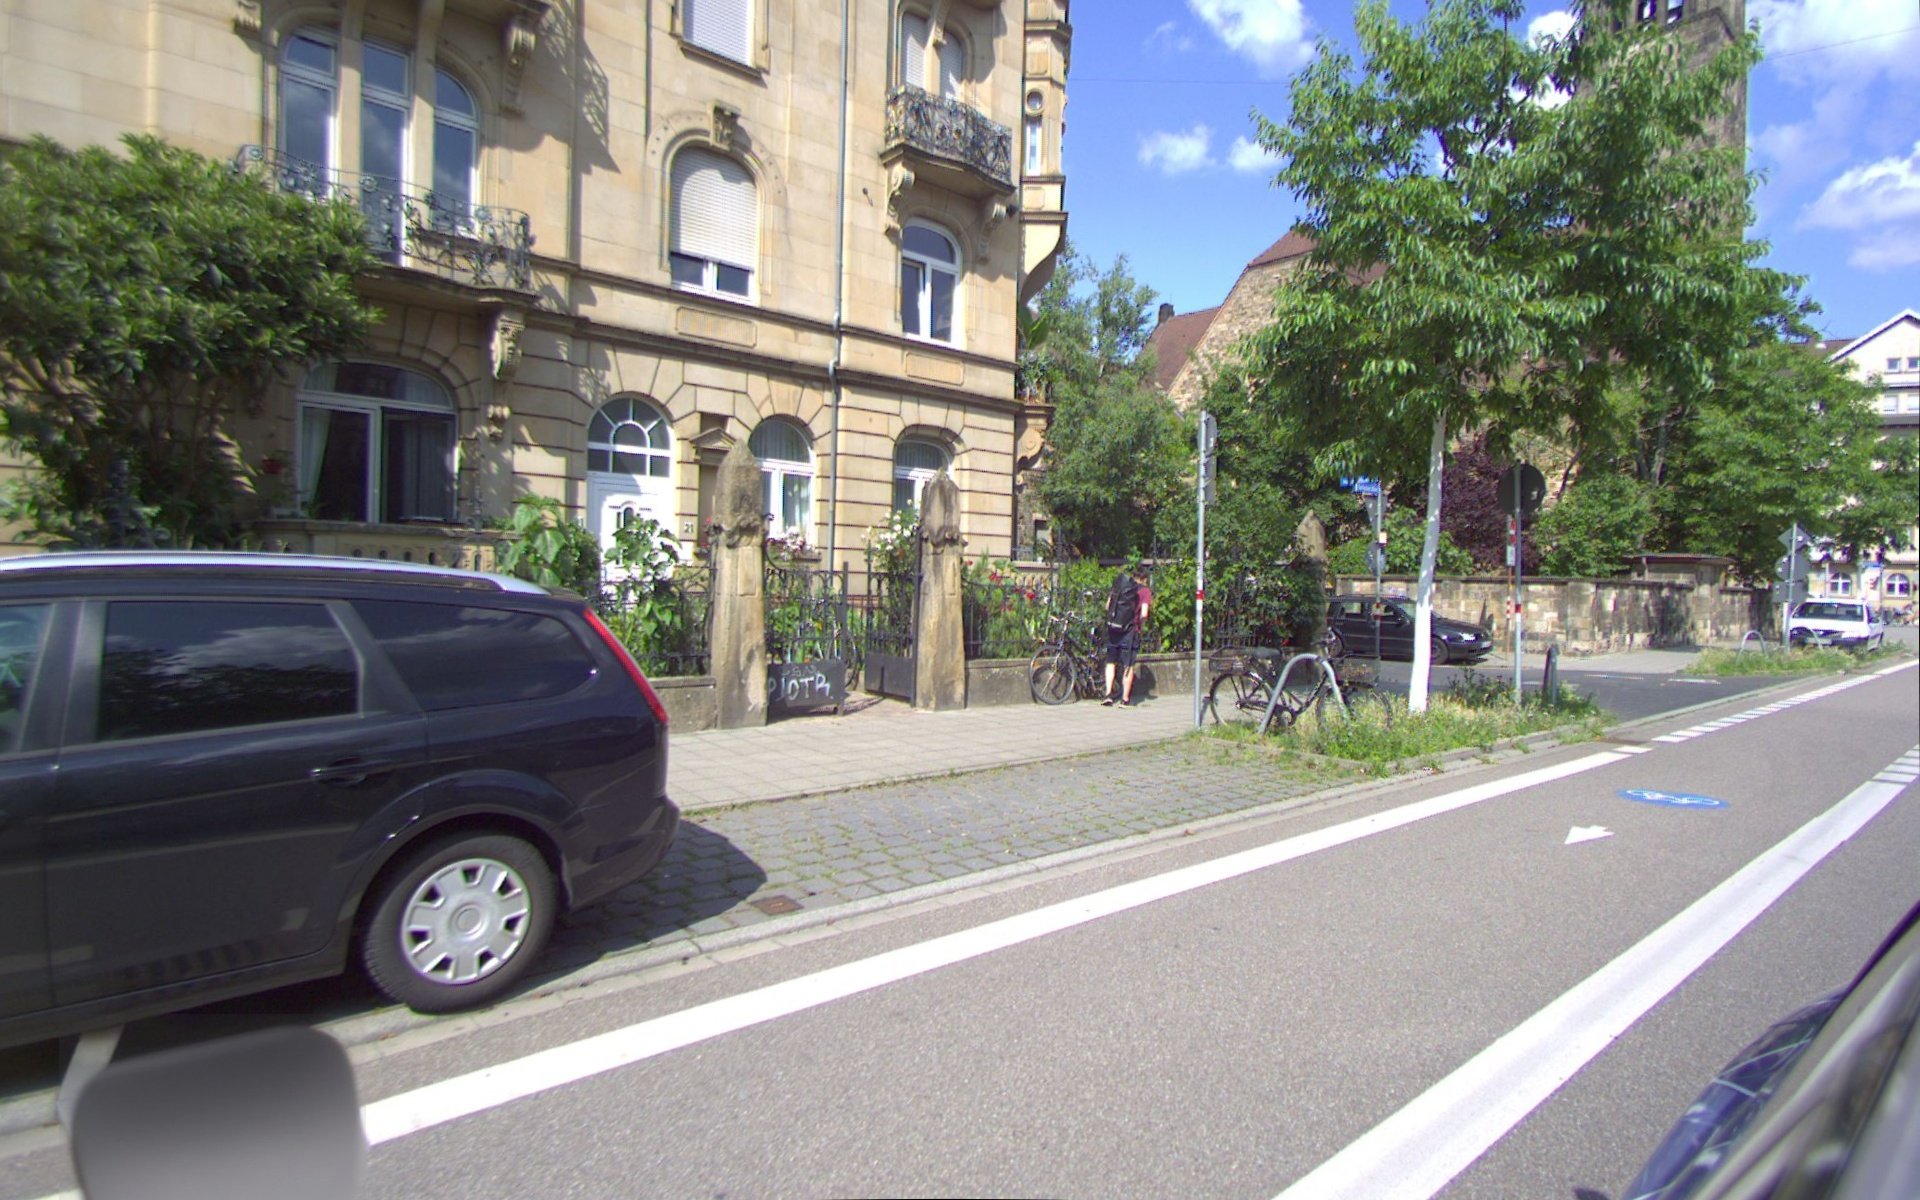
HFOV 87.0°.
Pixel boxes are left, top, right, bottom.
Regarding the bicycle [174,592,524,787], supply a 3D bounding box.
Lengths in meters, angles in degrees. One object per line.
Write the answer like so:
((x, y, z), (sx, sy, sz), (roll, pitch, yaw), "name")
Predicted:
((-4.080, 0.539, 6.894), (1.988, 1.153, 0.428), (0, 4, -41), "bicycle")

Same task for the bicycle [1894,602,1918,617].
((72.042, 0.685, 77.079), (0.602, 1.031, 1.865), (1, 3, 21), "bicycle")

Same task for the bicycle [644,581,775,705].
((-2.626, 0.404, 10.494), (1.707, 1.082, 0.464), (6, 4, 44), "bicycle")

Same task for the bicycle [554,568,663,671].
((-4.413, 0.207, 12.612), (1.890, 1.082, 0.464), (6, 4, 44), "bicycle")

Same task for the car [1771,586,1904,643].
((23.441, 0.392, 27.017), (3.768, 1.434, 1.675), (1, -1, -32), "car")

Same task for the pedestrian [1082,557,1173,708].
((1.913, 0.345, 11.569), (0.712, 1.649, 0.724), (0, 1, -40), "pedestrian")

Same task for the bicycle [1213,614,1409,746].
((3.266, 0.706, 9.548), (1.706, 1.083, 0.464), (2, 1, 44), "bicycle")

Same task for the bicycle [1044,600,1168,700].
((1.770, 0.563, 12.120), (1.681, 1.122, 0.470), (0, 1, -41), "bicycle")

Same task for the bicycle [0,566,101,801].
((-6.262, 0.456, 5.131), (2.891, 1.263, 0.659), (0, 4, -41), "bicycle")

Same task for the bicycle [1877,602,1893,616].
((70.010, 0.681, 76.612), (1.844, 1.031, 0.602), (-2, 3, -40), "bicycle")

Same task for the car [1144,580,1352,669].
((5.722, 0.421, 20.457), (1.724, 1.575, 3.753), (0, 1, -37), "car")

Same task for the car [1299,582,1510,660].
((10.409, 0.417, 23.943), (1.727, 1.574, 4.259), (-3, 3, -41), "car")

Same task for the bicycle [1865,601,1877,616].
((69.498, 0.659, 77.207), (0.537, 1.031, 1.903), (2, 3, 38), "bicycle")

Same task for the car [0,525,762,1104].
((-3.110, 0.545, 3.259), (4.624, 1.521, 1.689), (0, 1, -40), "car")

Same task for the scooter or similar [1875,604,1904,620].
((61.618, 0.810, 67.078), (1.117, 0.989, 0.884), (2, 0, 20), "scooter or similar")

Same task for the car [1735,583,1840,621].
((42.742, 0.075, 52.326), (1.832, 1.847, 4.007), (1, 1, -43), "car")

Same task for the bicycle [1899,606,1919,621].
((63.220, 0.907, 66.500), (2.106, 1.001, 0.648), (2, 0, 18), "bicycle")

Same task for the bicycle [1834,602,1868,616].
((67.342, 0.697, 76.498), (1.896, 1.031, 0.539), (1, 3, 8), "bicycle")

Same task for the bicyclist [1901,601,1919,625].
((62.844, 0.876, 66.751), (0.911, 1.523, 0.647), (1, -3, 21), "bicyclist")
